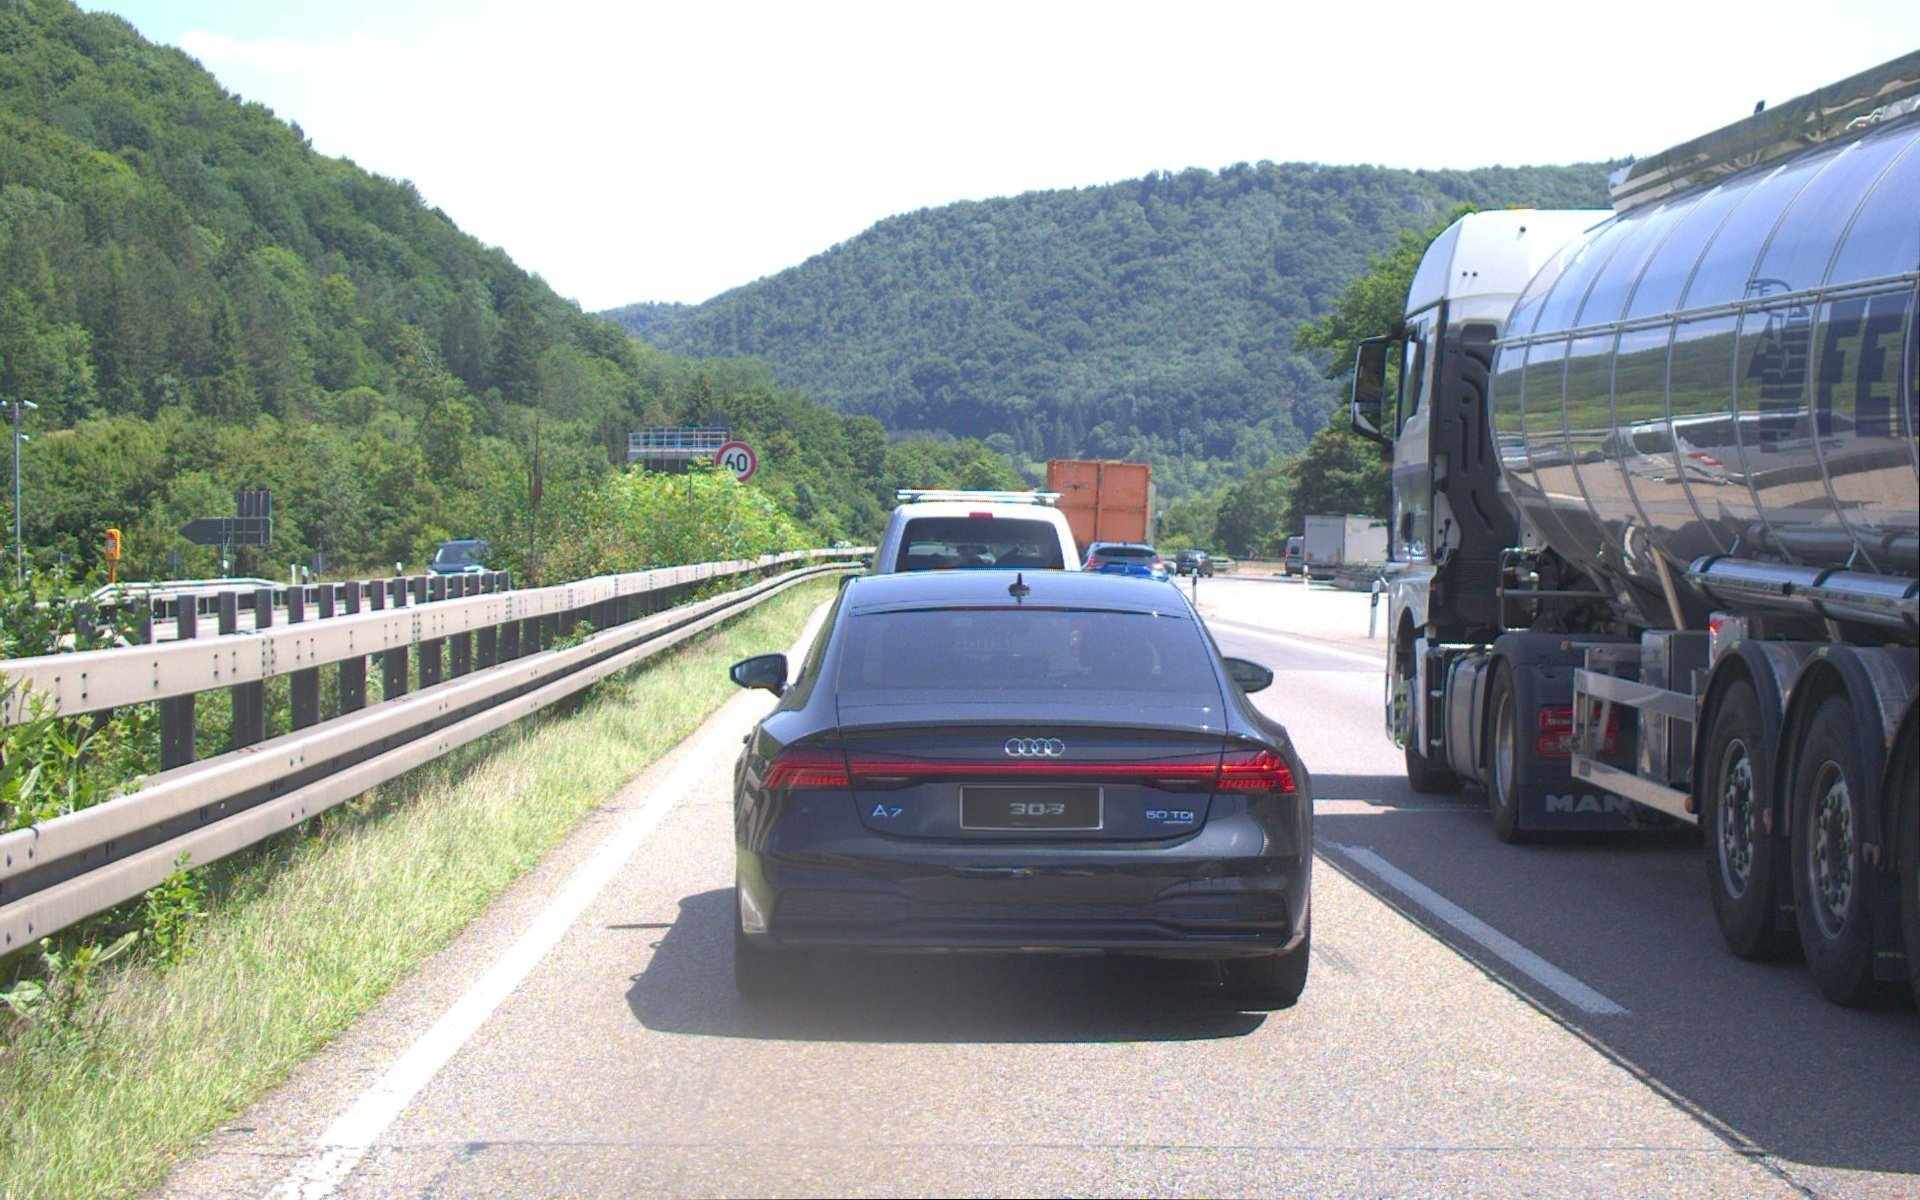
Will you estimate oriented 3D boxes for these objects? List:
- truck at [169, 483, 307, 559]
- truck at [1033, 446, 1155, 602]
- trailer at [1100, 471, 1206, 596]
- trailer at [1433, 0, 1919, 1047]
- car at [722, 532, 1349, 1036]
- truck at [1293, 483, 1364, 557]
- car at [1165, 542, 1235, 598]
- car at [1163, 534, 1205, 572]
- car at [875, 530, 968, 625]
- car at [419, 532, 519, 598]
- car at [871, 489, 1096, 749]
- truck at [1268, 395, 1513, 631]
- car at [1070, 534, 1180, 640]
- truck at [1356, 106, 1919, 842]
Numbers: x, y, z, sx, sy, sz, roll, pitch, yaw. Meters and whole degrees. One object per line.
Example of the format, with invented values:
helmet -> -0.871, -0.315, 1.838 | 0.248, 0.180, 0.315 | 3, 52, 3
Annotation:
truck -> -26.401, -2.881, 126.127 | 3.580, 2.686, 8.449 | 0, 1, -2
truck -> 3.610, -2.110, 96.018 | 2.817, 3.989, 14.956 | 1, 1, 0
trailer -> 6.998, -2.450, 126.307 | 3.015, 4.367, 10.987 | 1, 1, -1
trailer -> 4.119, -0.561, 13.628 | 2.538, 3.722, 11.893 | 1, 1, -1
car -> 0.088, 0.510, 12.227 | 1.849, 1.483, 4.084 | 0, 1, -4
truck -> 22.903, -4.918, 213.110 | 3.795, 4.399, 14.950 | 1, 1, 8
car -> 6.721, -0.860, 96.568 | 1.747, 1.525, 4.000 | 0, 1, 1
car -> 12.150, -2.558, 186.892 | 1.993, 2.007, 4.000 | 0, 1, 0
car -> -0.865, -0.523, 75.752 | 1.993, 2.007, 4.000 | 0, 1, -1
car -> -12.384, -0.897, 87.008 | 1.922, 1.615, 4.561 | 0, 1, -1
car -> 0.136, 0.098, 26.376 | 1.576, 1.827, 4.000 | 1, 1, -1
truck -> 8.028, -1.632, 66.206 | 2.817, 3.989, 14.956 | 1, 1, 0
car -> 3.198, -0.281, 67.292 | 1.993, 1.996, 4.000 | 0, 1, 0
truck -> 3.966, -0.690, 20.239 | 2.511, 3.745, 5.246 | 1, 1, -1
